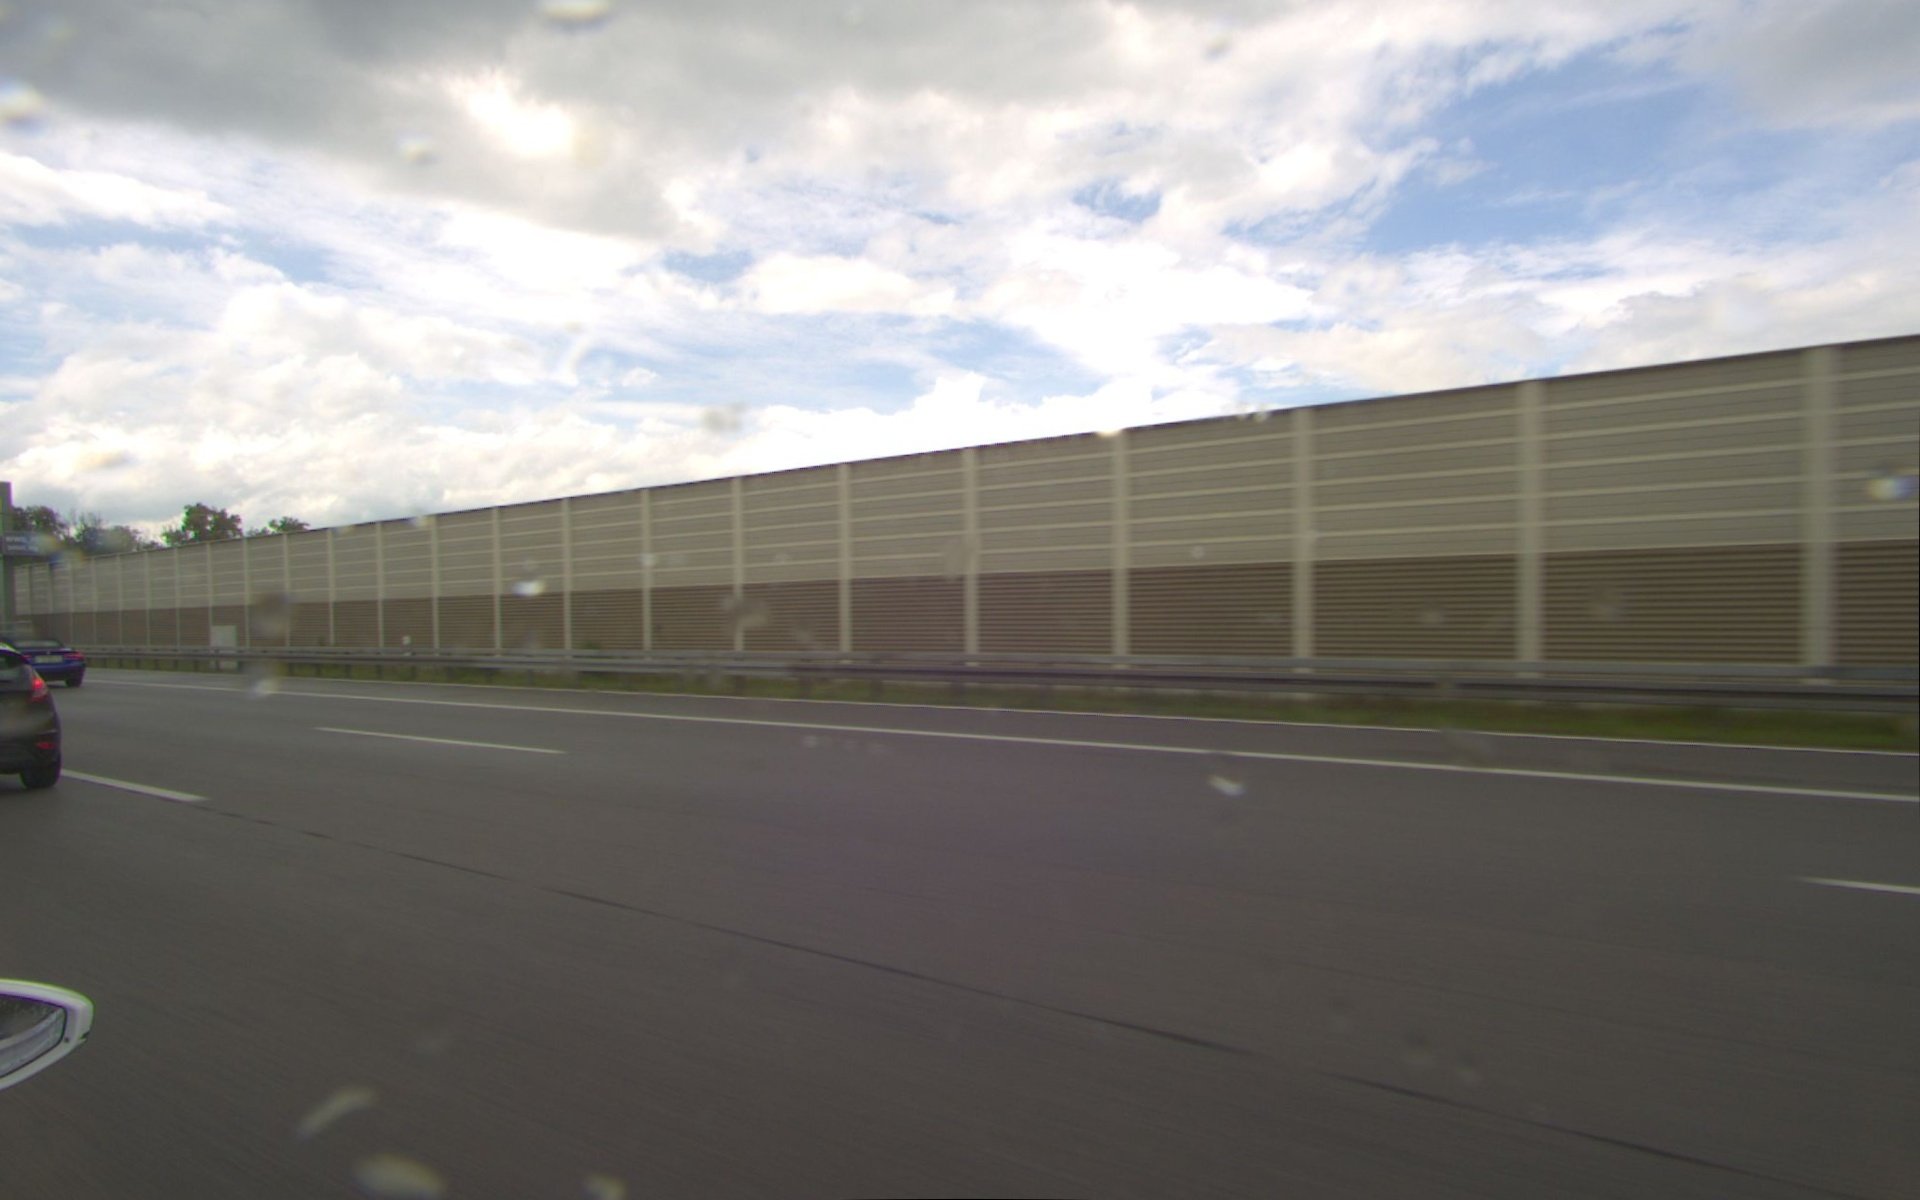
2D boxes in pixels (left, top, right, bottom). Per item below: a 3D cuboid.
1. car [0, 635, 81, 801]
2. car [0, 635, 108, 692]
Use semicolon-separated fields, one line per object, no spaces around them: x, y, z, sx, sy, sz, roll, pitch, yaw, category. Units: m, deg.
-10.290;1.072;9.638;4.219;1.435;1.713;-1;-1;33;car
-25.919;1.727;28.114;4.173;1.437;1.945;-1;-1;33;car
